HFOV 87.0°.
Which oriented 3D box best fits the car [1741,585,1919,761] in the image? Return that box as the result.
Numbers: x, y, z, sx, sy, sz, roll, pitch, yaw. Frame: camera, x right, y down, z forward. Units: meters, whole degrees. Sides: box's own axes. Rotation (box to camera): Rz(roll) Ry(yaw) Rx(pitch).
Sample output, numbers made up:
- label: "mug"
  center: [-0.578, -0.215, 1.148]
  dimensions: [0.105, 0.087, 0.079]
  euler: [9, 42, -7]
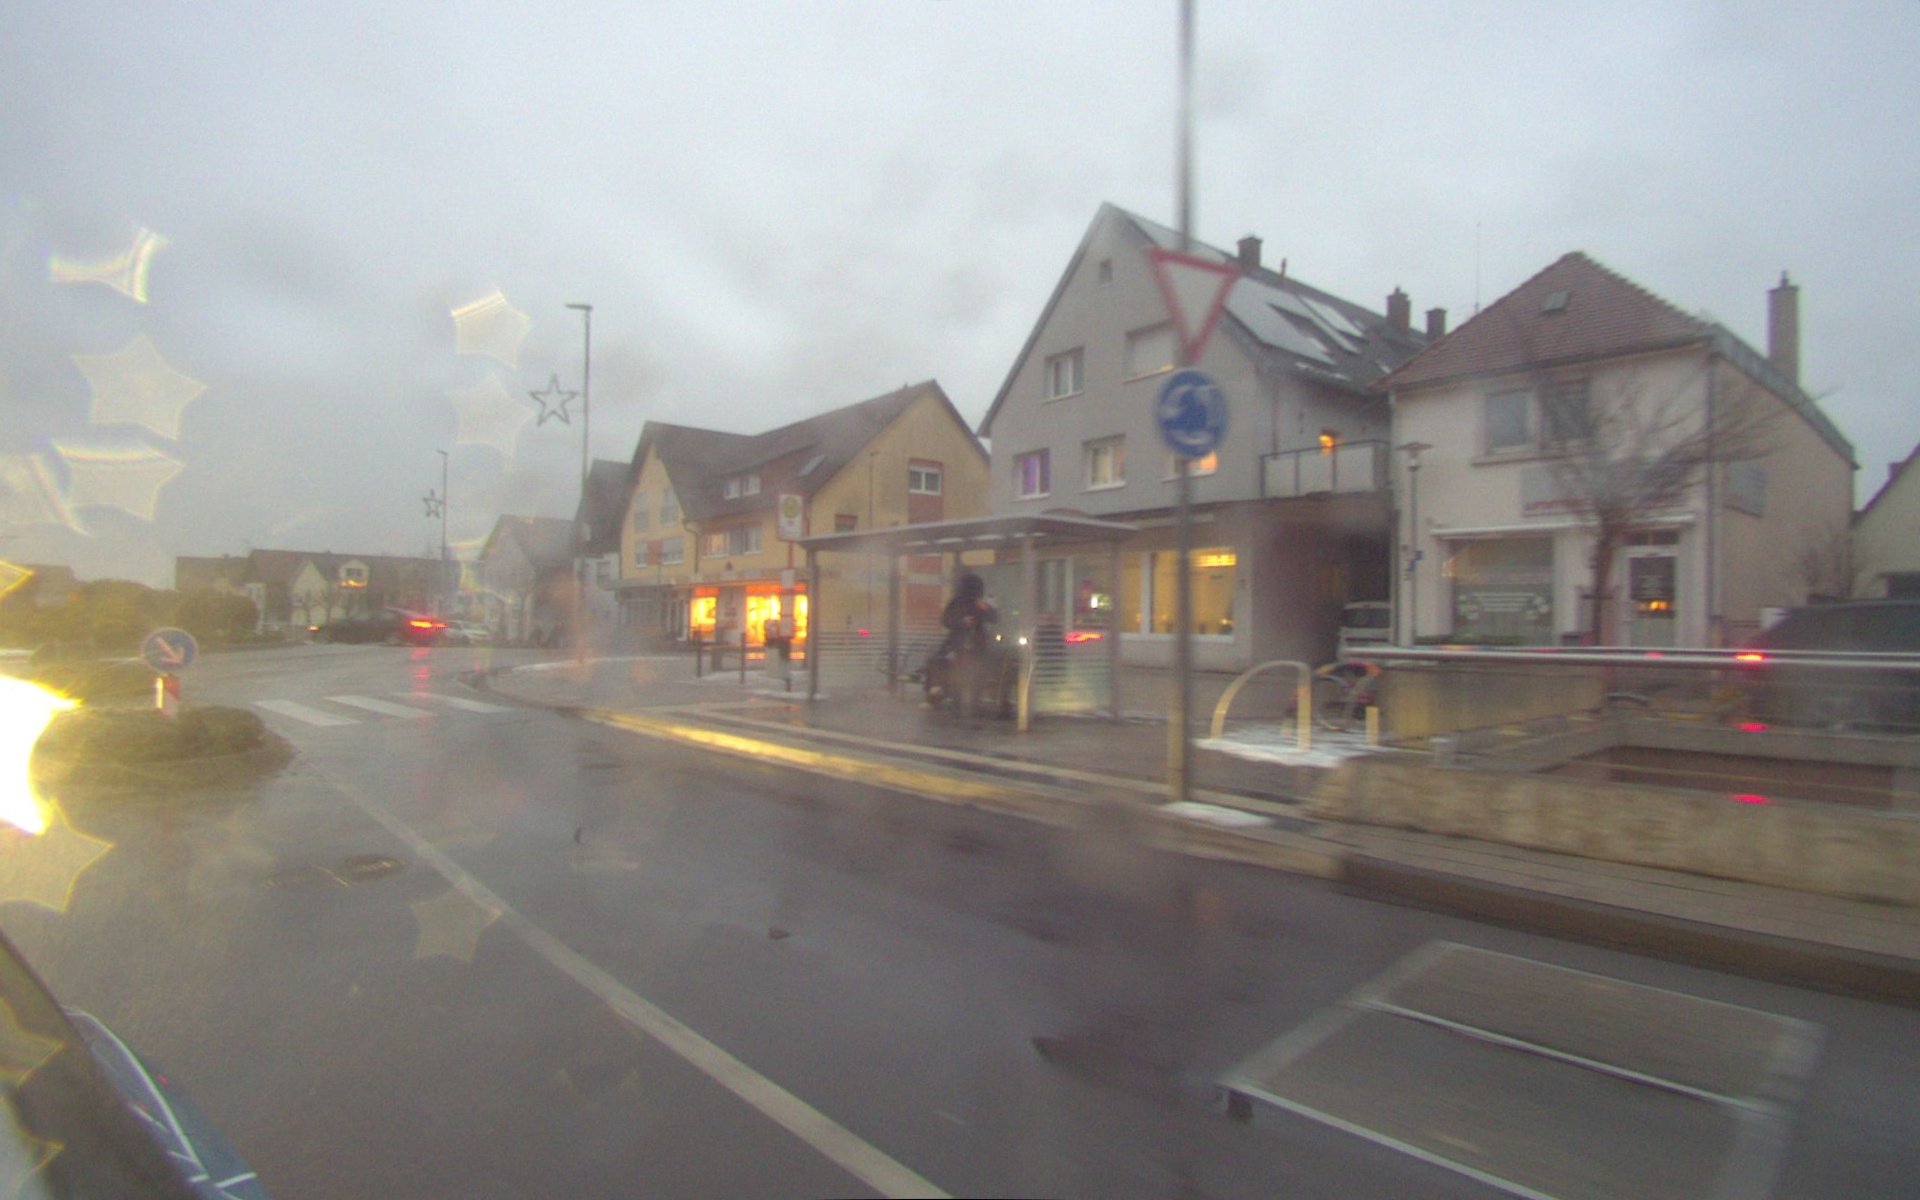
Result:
- label: "car"
  center: [10.600, 0.736, 9.804]
  dimensions: [1.734, 1.714, 4.569]
  euler: [4, -5, -43]

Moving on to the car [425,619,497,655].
- label: "car"
  center: [-29.470, 2.166, 59.756]
  dimensions: [3.853, 1.895, 1.918]
  euler: [1, 1, 28]

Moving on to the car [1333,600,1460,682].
- label: "car"
  center: [10.664, 0.967, 24.623]
  dimensions: [3.373, 1.867, 1.515]
  euler: [2, -1, -41]

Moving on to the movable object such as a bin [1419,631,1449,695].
- label: "movable object such as a bin"
  center: [9.319, 1.237, 19.901]
  dimensions: [0.284, 1.219, 0.454]
  euler: [0, 1, -44]

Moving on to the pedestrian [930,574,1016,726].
- label: "pedestrian"
  center: [0.159, 0.586, 12.211]
  dimensions: [0.687, 1.755, 0.740]
  euler: [-2, -1, 41]

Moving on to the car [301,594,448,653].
- label: "car"
  center: [-21.654, 0.829, 37.527]
  dimensions: [4.407, 2.029, 1.998]
  euler: [1, 1, 5]

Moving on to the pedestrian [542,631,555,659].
- label: "pedestrian"
  center: [-24.694, 2.711, 60.783]
  dimensions: [0.574, 1.623, 0.500]
  euler: [0, 1, -45]

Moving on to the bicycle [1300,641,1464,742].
- label: "bicycle"
  center: [4.691, 0.980, 11.376]
  dimensions: [0.463, 1.017, 1.744]
  euler: [1, -2, -33]

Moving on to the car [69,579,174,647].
- label: "car"
  center: [-27.078, 0.357, 32.839]
  dimensions: [2.024, 2.002, 4.551]
  euler: [0, 1, -32]

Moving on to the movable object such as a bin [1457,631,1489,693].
- label: "movable object such as a bin"
  center: [9.804, 1.178, 19.337]
  dimensions: [0.284, 1.129, 0.454]
  euler: [0, 1, -44]

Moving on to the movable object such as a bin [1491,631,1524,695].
- label: "movable object such as a bin"
  center: [10.232, 1.174, 18.921]
  dimensions: [0.284, 1.151, 0.454]
  euler: [0, 1, -44]

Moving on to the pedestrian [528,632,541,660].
- label: "pedestrian"
  center: [-25.047, 2.721, 59.606]
  dimensions: [0.574, 1.623, 0.500]
  euler: [0, 1, -45]

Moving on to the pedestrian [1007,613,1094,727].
- label: "pedestrian"
  center: [1.069, 0.807, 12.025]
  dimensions: [0.677, 1.281, 0.751]
  euler: [0, -1, -45]

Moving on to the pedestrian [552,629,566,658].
- label: "pedestrian"
  center: [-23.167, 2.520, 58.487]
  dimensions: [0.574, 1.623, 0.500]
  euler: [0, 1, -45]

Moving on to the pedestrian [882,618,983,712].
- label: "pedestrian"
  center: [-0.368, 0.848, 13.438]
  dimensions: [0.976, 1.167, 0.903]
  euler: [0, -3, -40]
